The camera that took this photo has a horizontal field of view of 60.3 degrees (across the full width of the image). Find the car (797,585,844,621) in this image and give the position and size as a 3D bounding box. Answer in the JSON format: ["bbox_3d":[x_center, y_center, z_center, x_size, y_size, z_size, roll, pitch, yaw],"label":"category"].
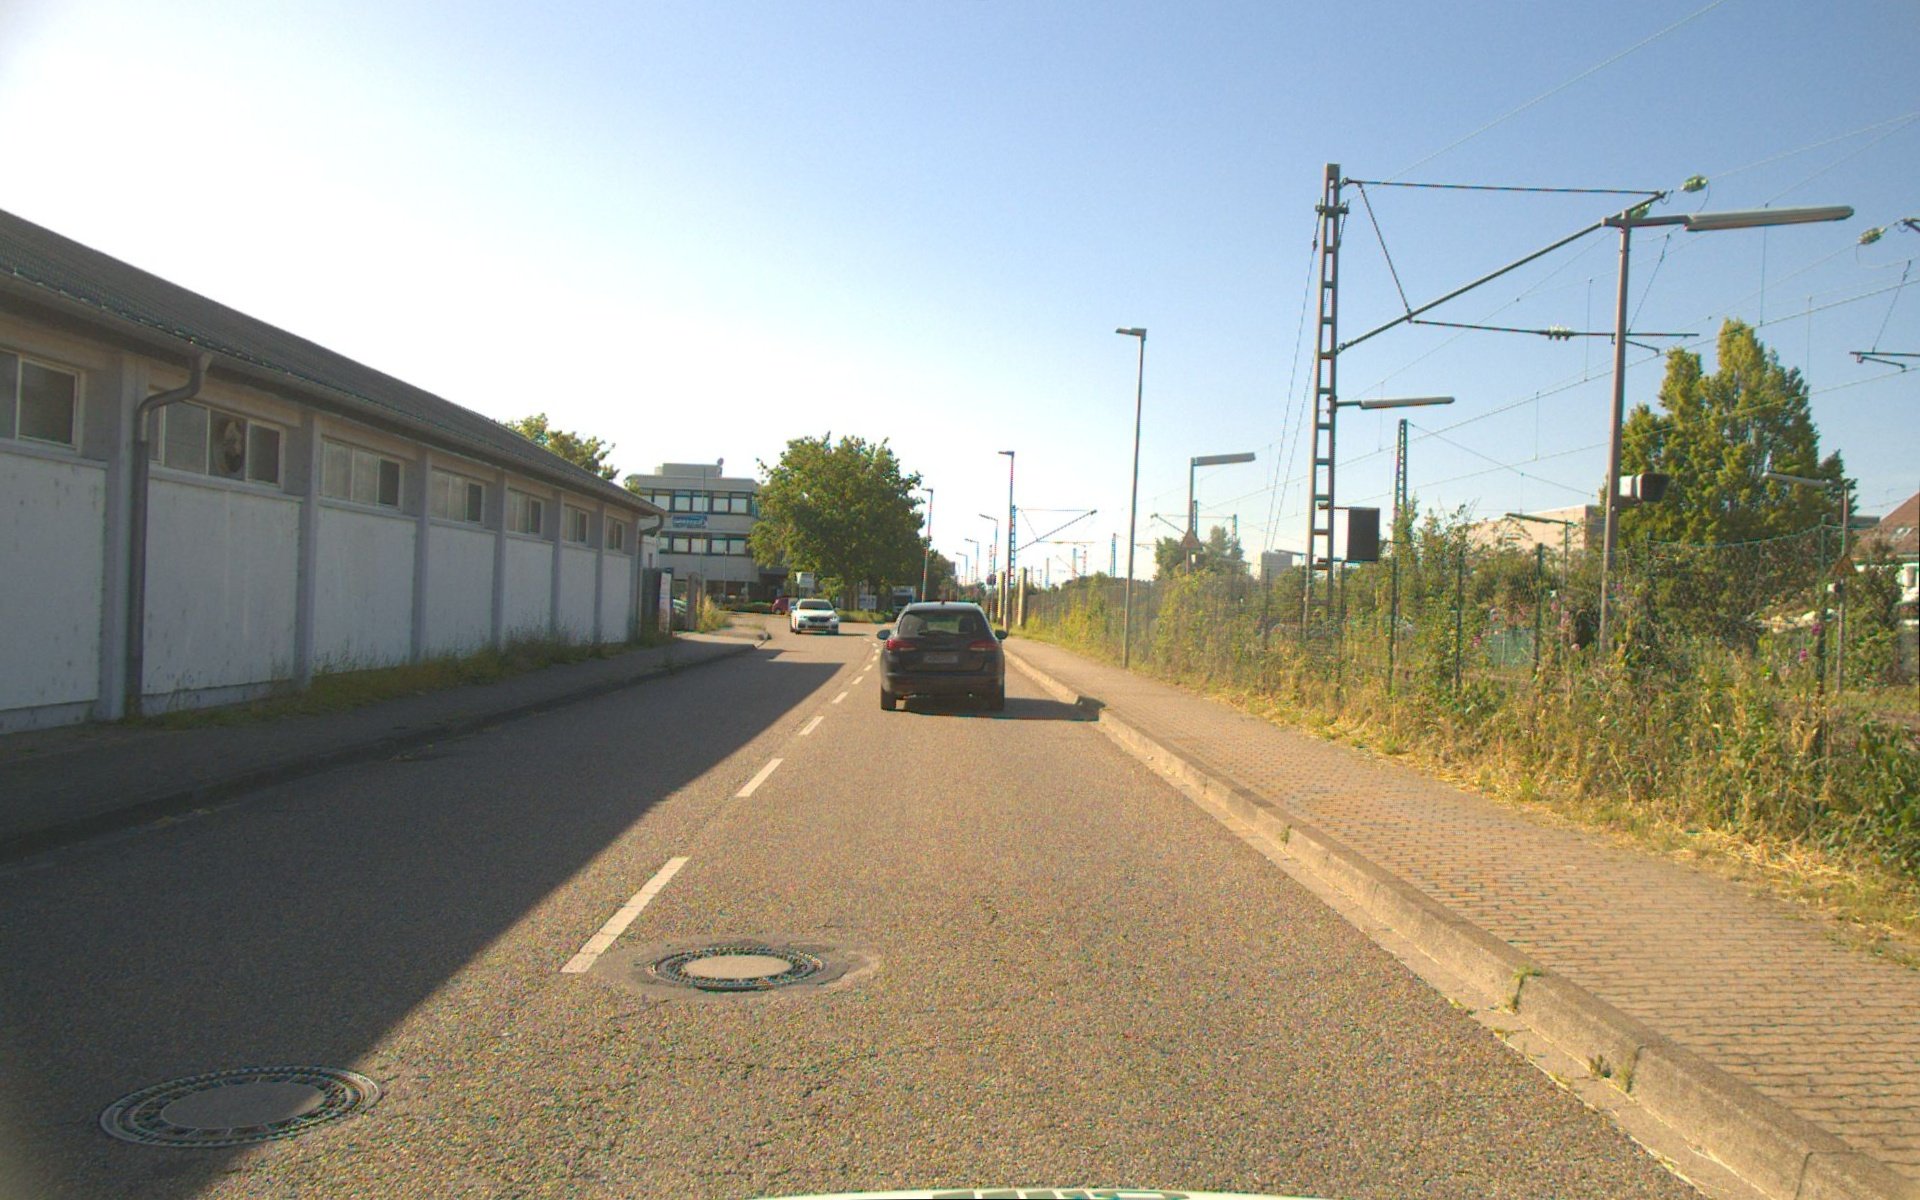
[{"bbox_3d":[-6.003,0.122,71.500,1.772,1.504,4.686,0,0,-2],"label":"car"}]

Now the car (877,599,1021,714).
[{"bbox_3d":[-0.203,0.768,24.231,1.903,1.515,4.564,0,-1,-1],"label":"car"}]

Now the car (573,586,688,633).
[{"bbox_3d":[-12.859,0.371,64.632,4.311,1.677,1.835,2,0,-12],"label":"car"}]

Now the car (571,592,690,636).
[{"bbox_3d":[-12.375,0.529,62.240,4.311,1.533,1.835,2,0,-12],"label":"car"}]

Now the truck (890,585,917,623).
[{"bbox_3d":[-6.269,0.499,182.750,2.561,3.953,13.523,2,0,-3],"label":"truck"}]

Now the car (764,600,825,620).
[{"bbox_3d":[-13.824,0.823,138.307,4.808,1.510,2.001,2,1,3],"label":"car"}]
